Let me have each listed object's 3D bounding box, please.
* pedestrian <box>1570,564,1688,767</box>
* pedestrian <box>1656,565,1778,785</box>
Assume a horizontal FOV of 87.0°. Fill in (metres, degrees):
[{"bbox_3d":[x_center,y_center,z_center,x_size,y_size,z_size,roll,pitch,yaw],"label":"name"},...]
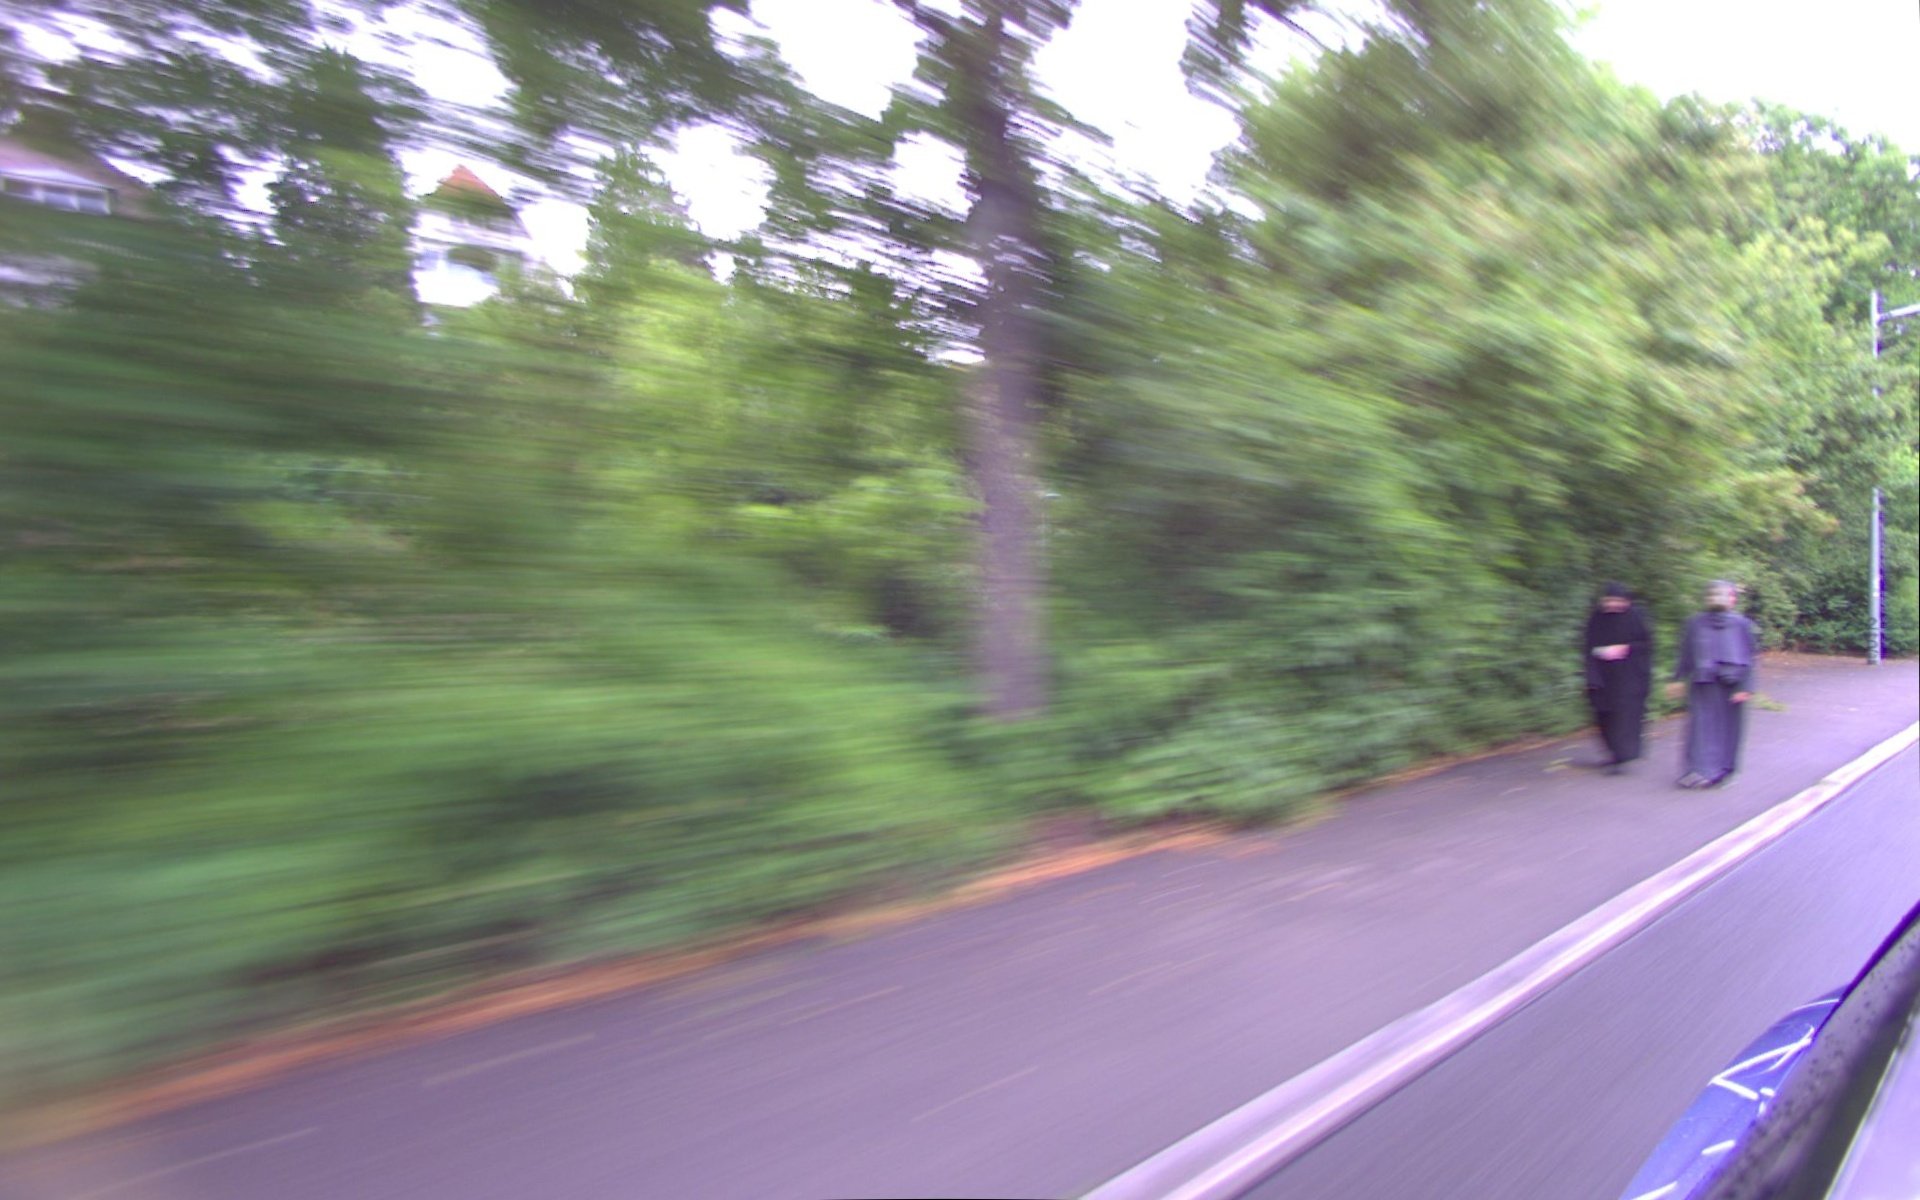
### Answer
[{"bbox_3d":[5.524,0.516,8.359,0.656,1.586,0.597,2,-1,-36],"label":"pedestrian"},{"bbox_3d":[5.747,0.537,7.692,0.477,1.585,0.554,0,2,-33],"label":"pedestrian"}]
